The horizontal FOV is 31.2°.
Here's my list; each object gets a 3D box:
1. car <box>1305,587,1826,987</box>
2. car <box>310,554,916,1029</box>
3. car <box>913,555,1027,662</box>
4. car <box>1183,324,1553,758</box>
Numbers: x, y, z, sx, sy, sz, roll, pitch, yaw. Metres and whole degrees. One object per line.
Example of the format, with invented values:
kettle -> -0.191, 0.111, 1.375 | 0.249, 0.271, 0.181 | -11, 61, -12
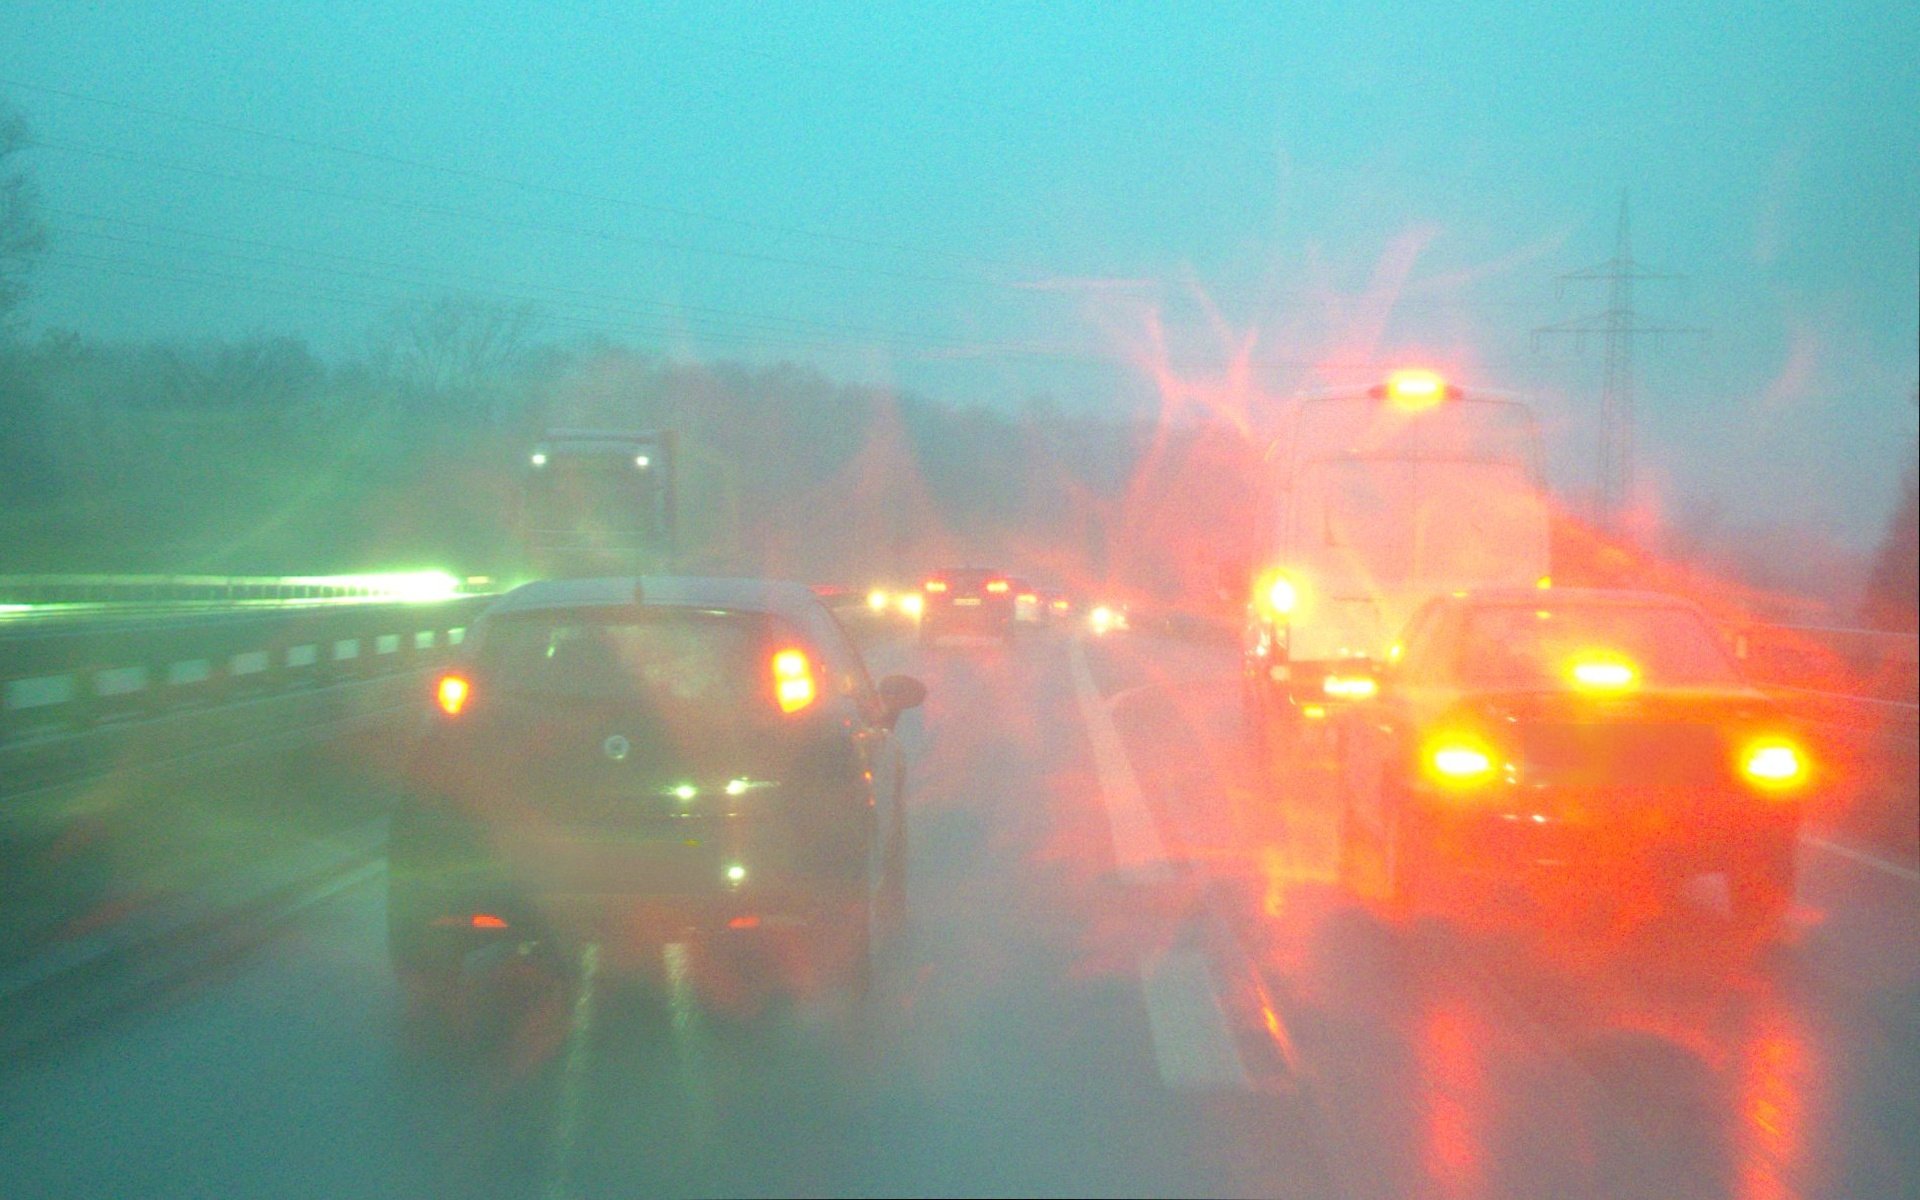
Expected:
car -> 2.571, 0.719, 15.569 | 1.736, 1.409, 4.377 | 3, 1, 3
car -> -1.155, 0.630, 13.185 | 1.730, 1.527, 4.042 | 0, 0, 3
car -> 0.182, 0.135, 64.825 | 1.993, 1.808, 4.000 | 3, 1, 0
car -> 2.986, -0.410, 26.607 | 2.282, 2.956, 6.390 | 0, 0, 2
